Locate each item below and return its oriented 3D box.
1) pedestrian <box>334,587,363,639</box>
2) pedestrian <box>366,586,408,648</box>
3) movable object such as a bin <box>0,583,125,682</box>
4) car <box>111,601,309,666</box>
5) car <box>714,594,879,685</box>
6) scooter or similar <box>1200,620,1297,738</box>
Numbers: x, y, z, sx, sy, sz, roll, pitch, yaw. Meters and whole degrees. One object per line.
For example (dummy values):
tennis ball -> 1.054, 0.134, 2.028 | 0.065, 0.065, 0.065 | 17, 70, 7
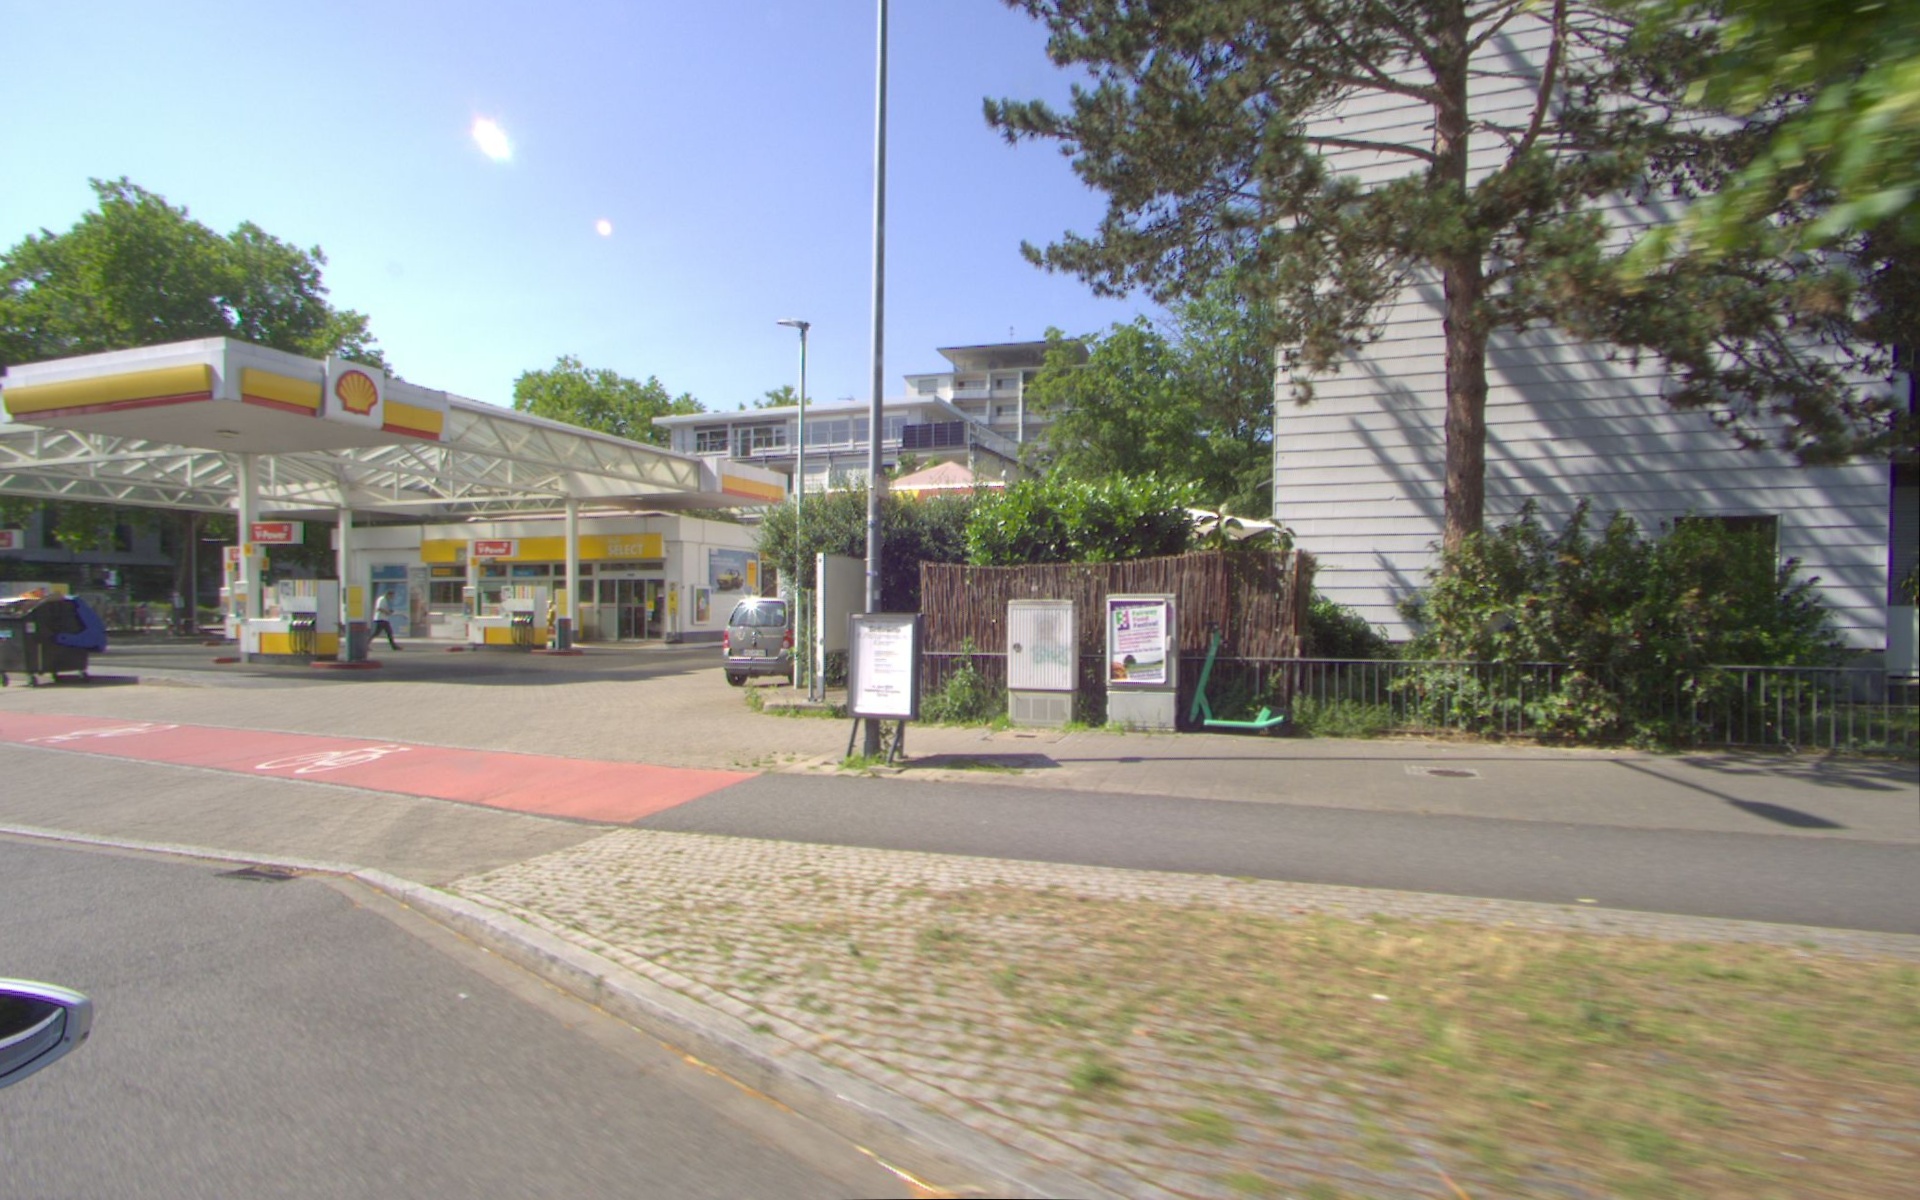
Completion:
pedestrian -> -21.908, 0.452, 35.896 | 0.621, 1.846, 0.673 | 0, 0, 27
pedestrian -> -17.372, 0.517, 30.393 | 0.841, 1.862, 0.745 | 0, 0, -1
movable object such as a bin -> -15.743, 0.527, 17.411 | 1.371, 1.614, 1.308 | 0, 3, 18
car -> -20.179, 0.837, 27.148 | 1.811, 1.603, 3.993 | 0, 0, 19
car -> -3.118, 0.719, 19.863 | 1.562, 1.617, 3.826 | 0, -1, 20
scooter or similar -> 2.999, 0.805, 10.440 | 0.943, 1.181, 0.230 | 0, 0, 28
